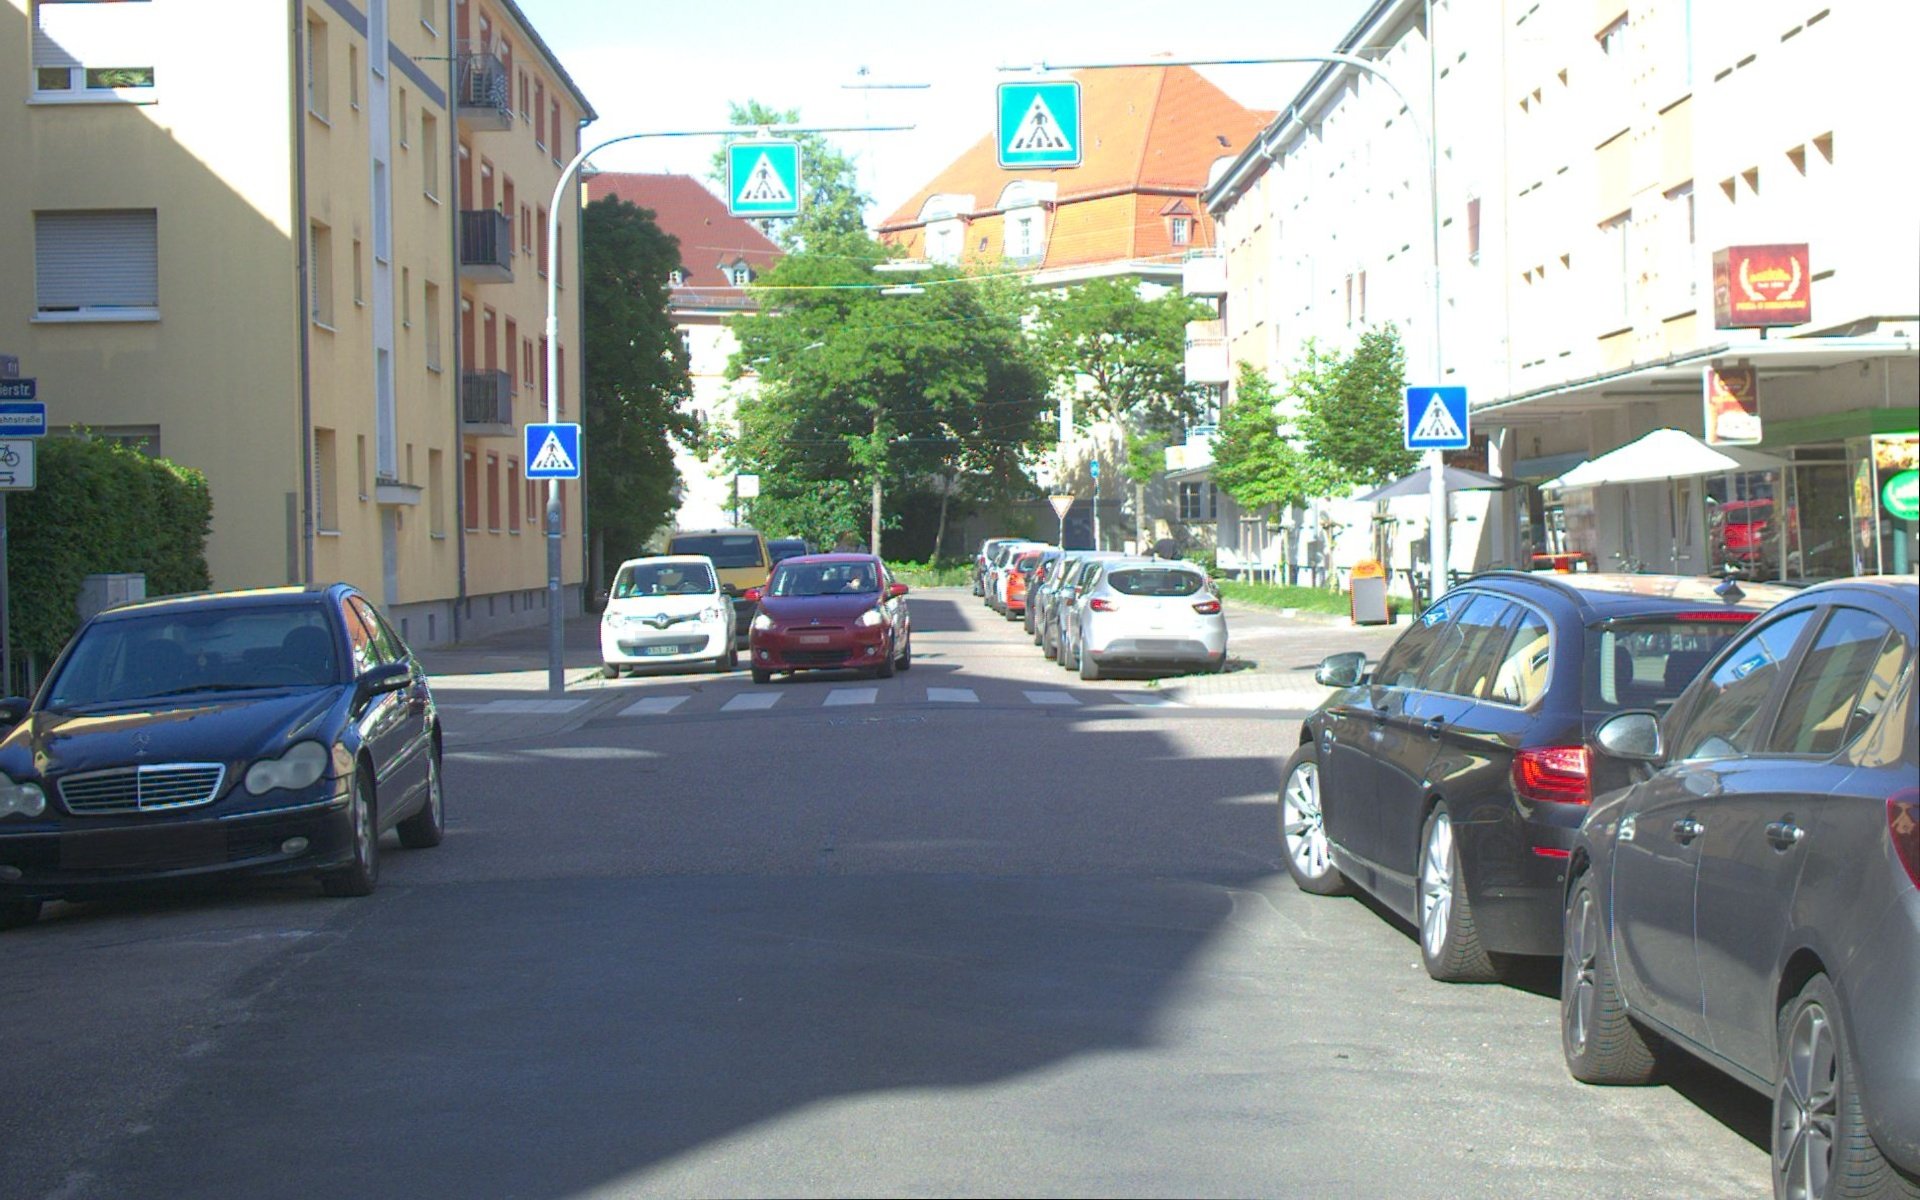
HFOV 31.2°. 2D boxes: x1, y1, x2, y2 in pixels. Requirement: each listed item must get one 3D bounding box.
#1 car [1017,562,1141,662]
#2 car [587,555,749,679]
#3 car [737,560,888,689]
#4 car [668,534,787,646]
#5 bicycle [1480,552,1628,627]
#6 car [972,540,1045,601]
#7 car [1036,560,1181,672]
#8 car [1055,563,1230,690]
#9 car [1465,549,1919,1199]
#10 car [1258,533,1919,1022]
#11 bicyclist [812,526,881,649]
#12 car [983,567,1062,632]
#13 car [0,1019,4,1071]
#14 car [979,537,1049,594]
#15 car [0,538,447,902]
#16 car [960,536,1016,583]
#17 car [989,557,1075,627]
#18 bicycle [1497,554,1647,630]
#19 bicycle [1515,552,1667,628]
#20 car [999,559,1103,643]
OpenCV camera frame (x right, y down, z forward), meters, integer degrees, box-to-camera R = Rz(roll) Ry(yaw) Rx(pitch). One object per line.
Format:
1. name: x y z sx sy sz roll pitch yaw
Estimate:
1. car: 1.772 0.155 52.219 1.637 1.436 3.419 -1 1 -2
2. car: -3.846 0.191 45.878 1.791 1.475 4.099 -2 2 0
3. car: -1.705 0.256 40.645 1.697 1.436 3.419 -1 1 -1
4. car: -3.812 -0.197 56.787 1.697 1.773 4.099 -1 1 0
5. bicycle: 7.894 -0.144 45.714 1.806 0.964 0.674 -1 1 -11
6. car: 1.165 -0.730 83.741 1.637 1.436 3.419 -1 1 -1
7. car: 1.988 0.184 46.730 1.690 1.436 3.419 -1 1 -2
8. car: 2.169 0.291 41.615 1.845 1.436 3.419 -1 1 -1
9. car: 2.391 0.627 8.432 1.645 1.455 3.940 0 0 -1
10. car: 2.352 0.545 13.080 1.853 1.518 4.777 0 0 -2
11. bicyclist: -1.524 -0.175 46.311 0.786 1.615 0.956 -2 1 4
12. car: 1.424 -0.024 79.092 1.637 1.436 3.419 1 1 -1
13. car: -3.311 0.620 7.059 1.645 1.411 4.081 -5 0 -3
14. car: 1.370 -0.892 88.265 1.637 1.436 3.419 -1 1 -1
15. car: -3.600 0.504 16.587 1.703 1.411 4.375 -5 0 -3
16. car: 0.856 -1.268 107.467 1.637 1.436 3.419 -1 1 -1
17. car: 1.507 -0.189 72.777 1.637 1.436 3.419 -1 1 -1
18. bicycle: 8.020 -0.111 45.086 1.806 0.964 0.674 -1 1 -11
19. bicycle: 8.152 -0.135 44.458 1.806 0.964 0.674 -1 1 -11
20. car: 1.595 -0.002 61.260 1.637 1.436 3.419 -1 1 -2
